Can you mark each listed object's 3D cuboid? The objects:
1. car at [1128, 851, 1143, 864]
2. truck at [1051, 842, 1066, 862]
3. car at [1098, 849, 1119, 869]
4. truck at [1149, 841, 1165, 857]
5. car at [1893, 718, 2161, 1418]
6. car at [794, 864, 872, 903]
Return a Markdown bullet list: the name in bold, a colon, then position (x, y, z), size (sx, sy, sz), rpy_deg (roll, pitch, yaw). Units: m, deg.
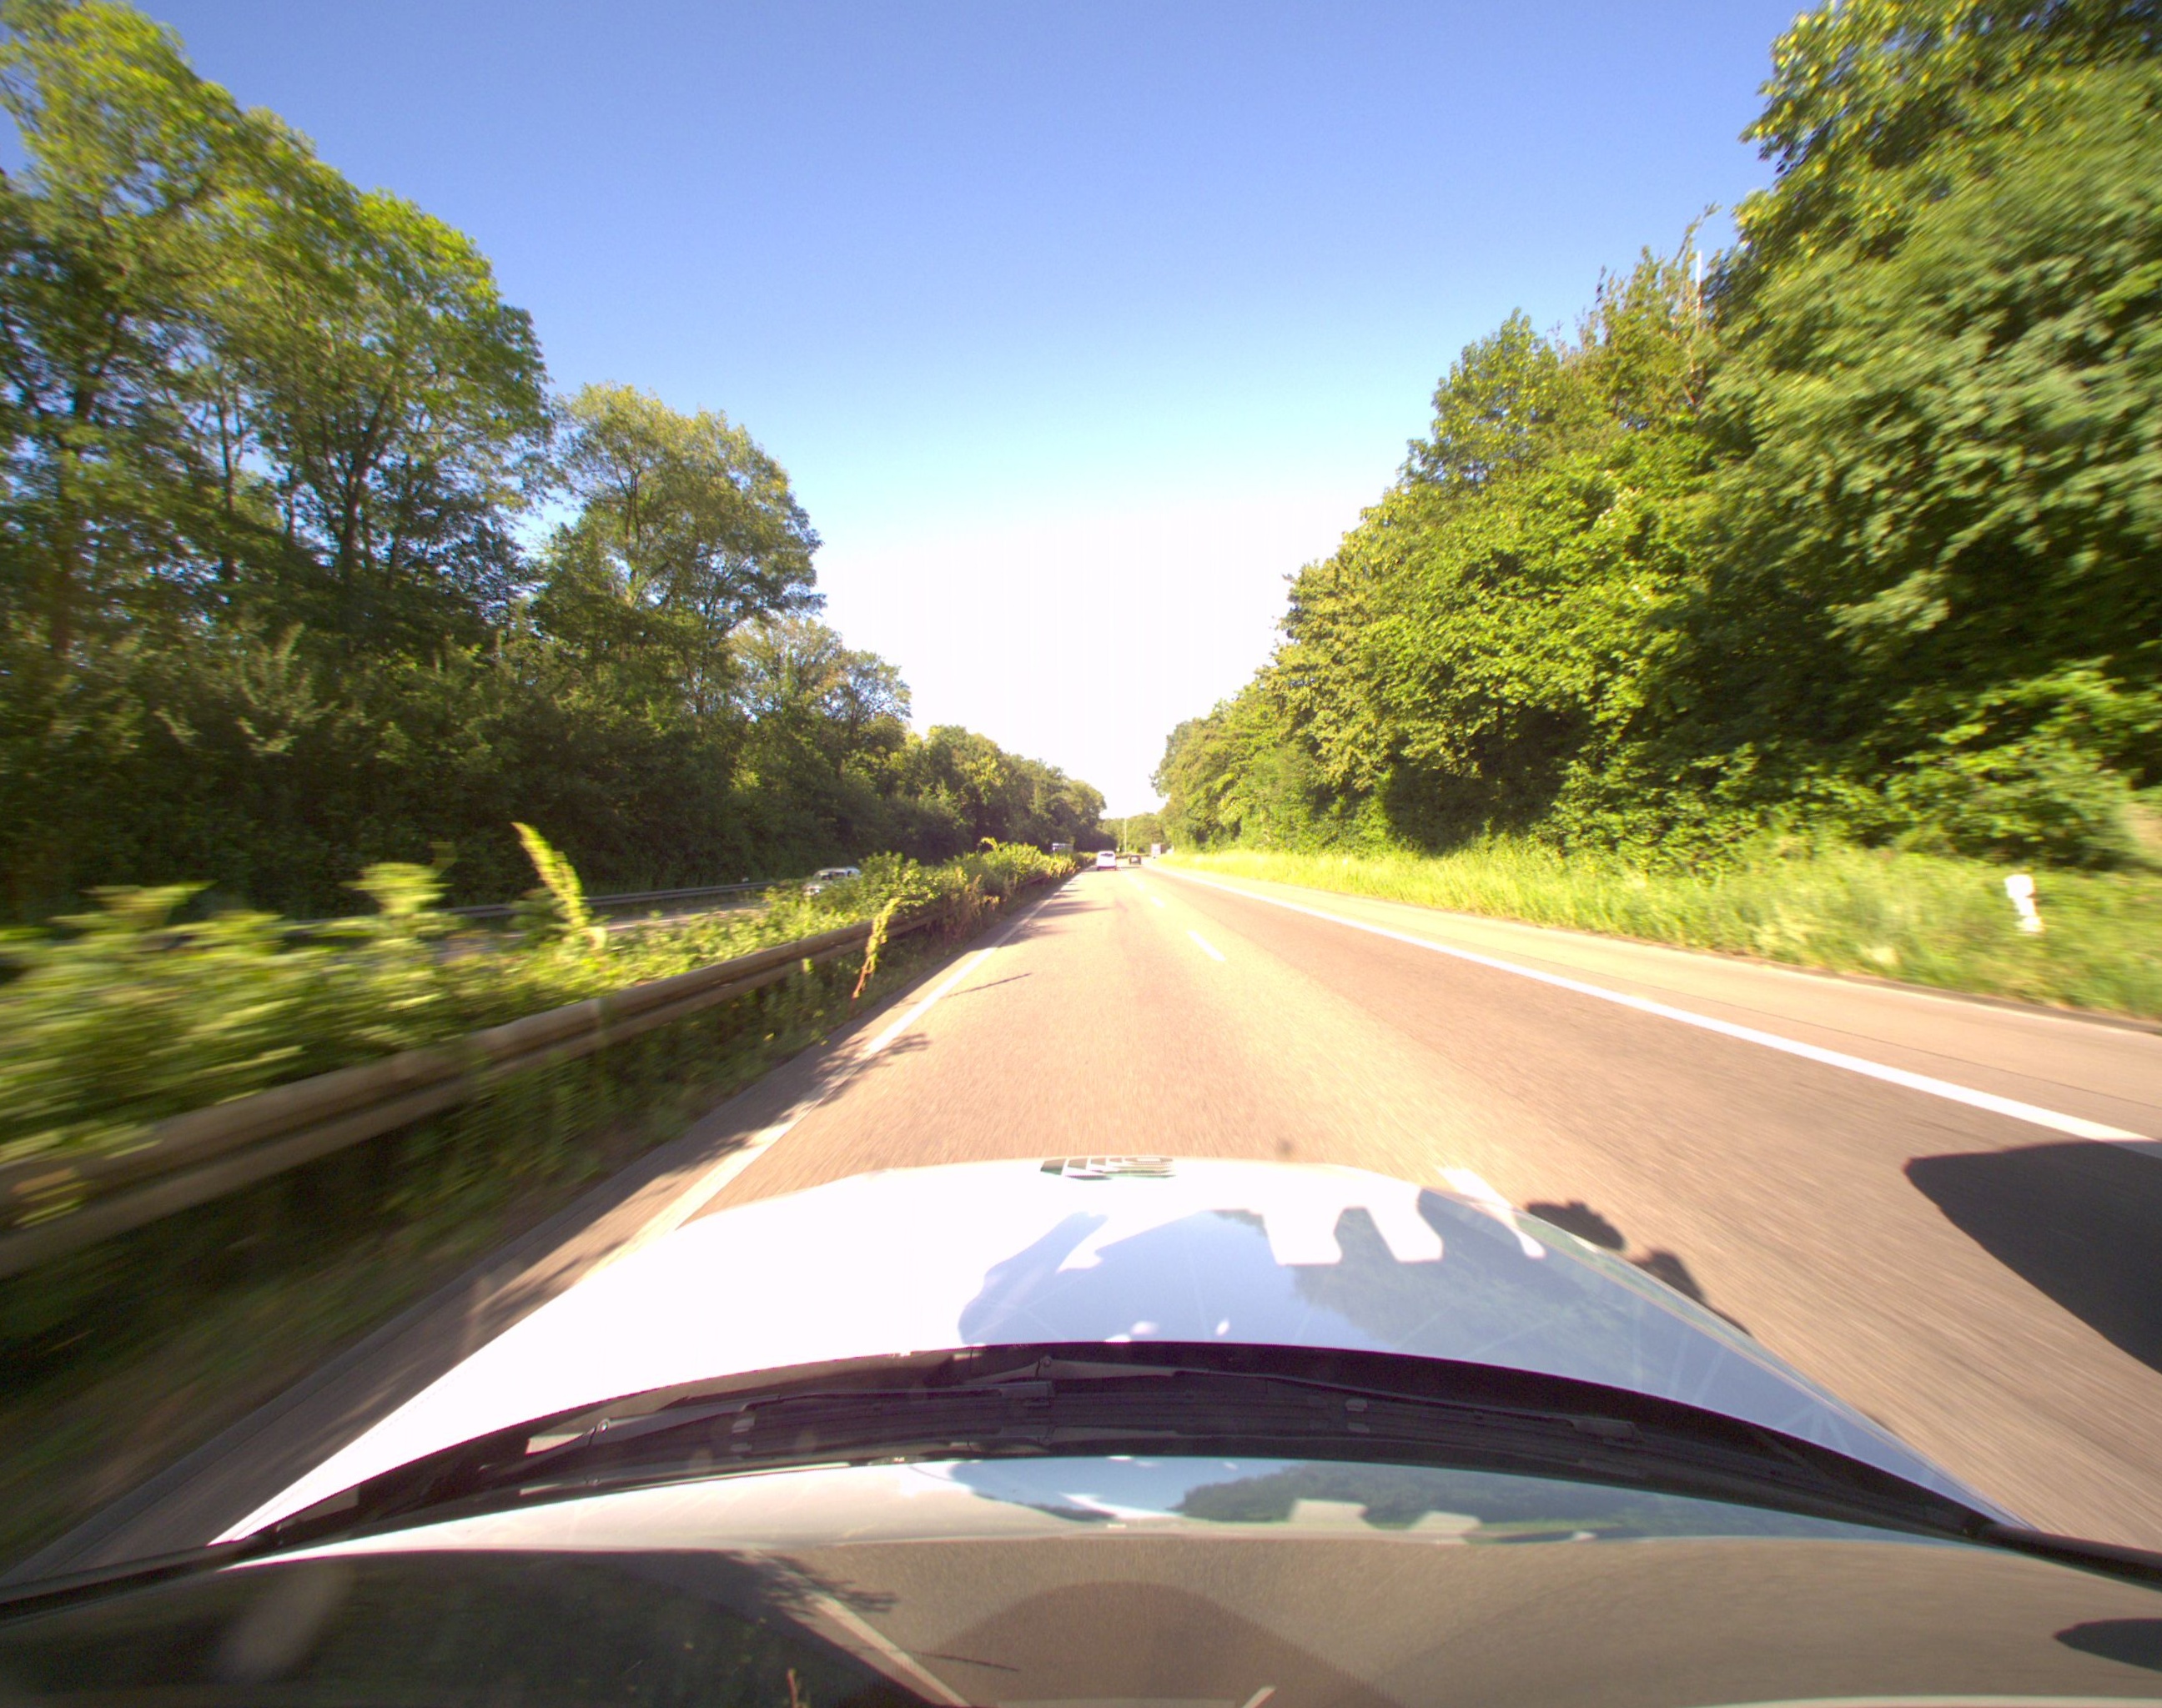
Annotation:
- **car**: position (7.965, 0.537, 119.534), size (1.944, 1.782, 4.588), rpy_deg (0, 0, 1)
- **truck**: position (-4.674, -0.421, 167.432), size (2.705, 4.097, 5.439), rpy_deg (0, -1, 2)
- **car**: position (2.541, 0.504, 76.457), size (1.944, 1.782, 4.588), rpy_deg (0, 0, 1)
- **truck**: position (21.707, -1.437, 232.128), size (3.711, 4.343, 9.330), rpy_deg (-1, 0, 10)
- **car**: position (3.653, 0.537, 0.500), size (1.792, 1.813, 4.588), rpy_deg (0, 0, 1)
- **car**: position (-10.642, 1.230, 35.270), size (1.987, 1.449, 4.338), rpy_deg (-2, 0, 0)
